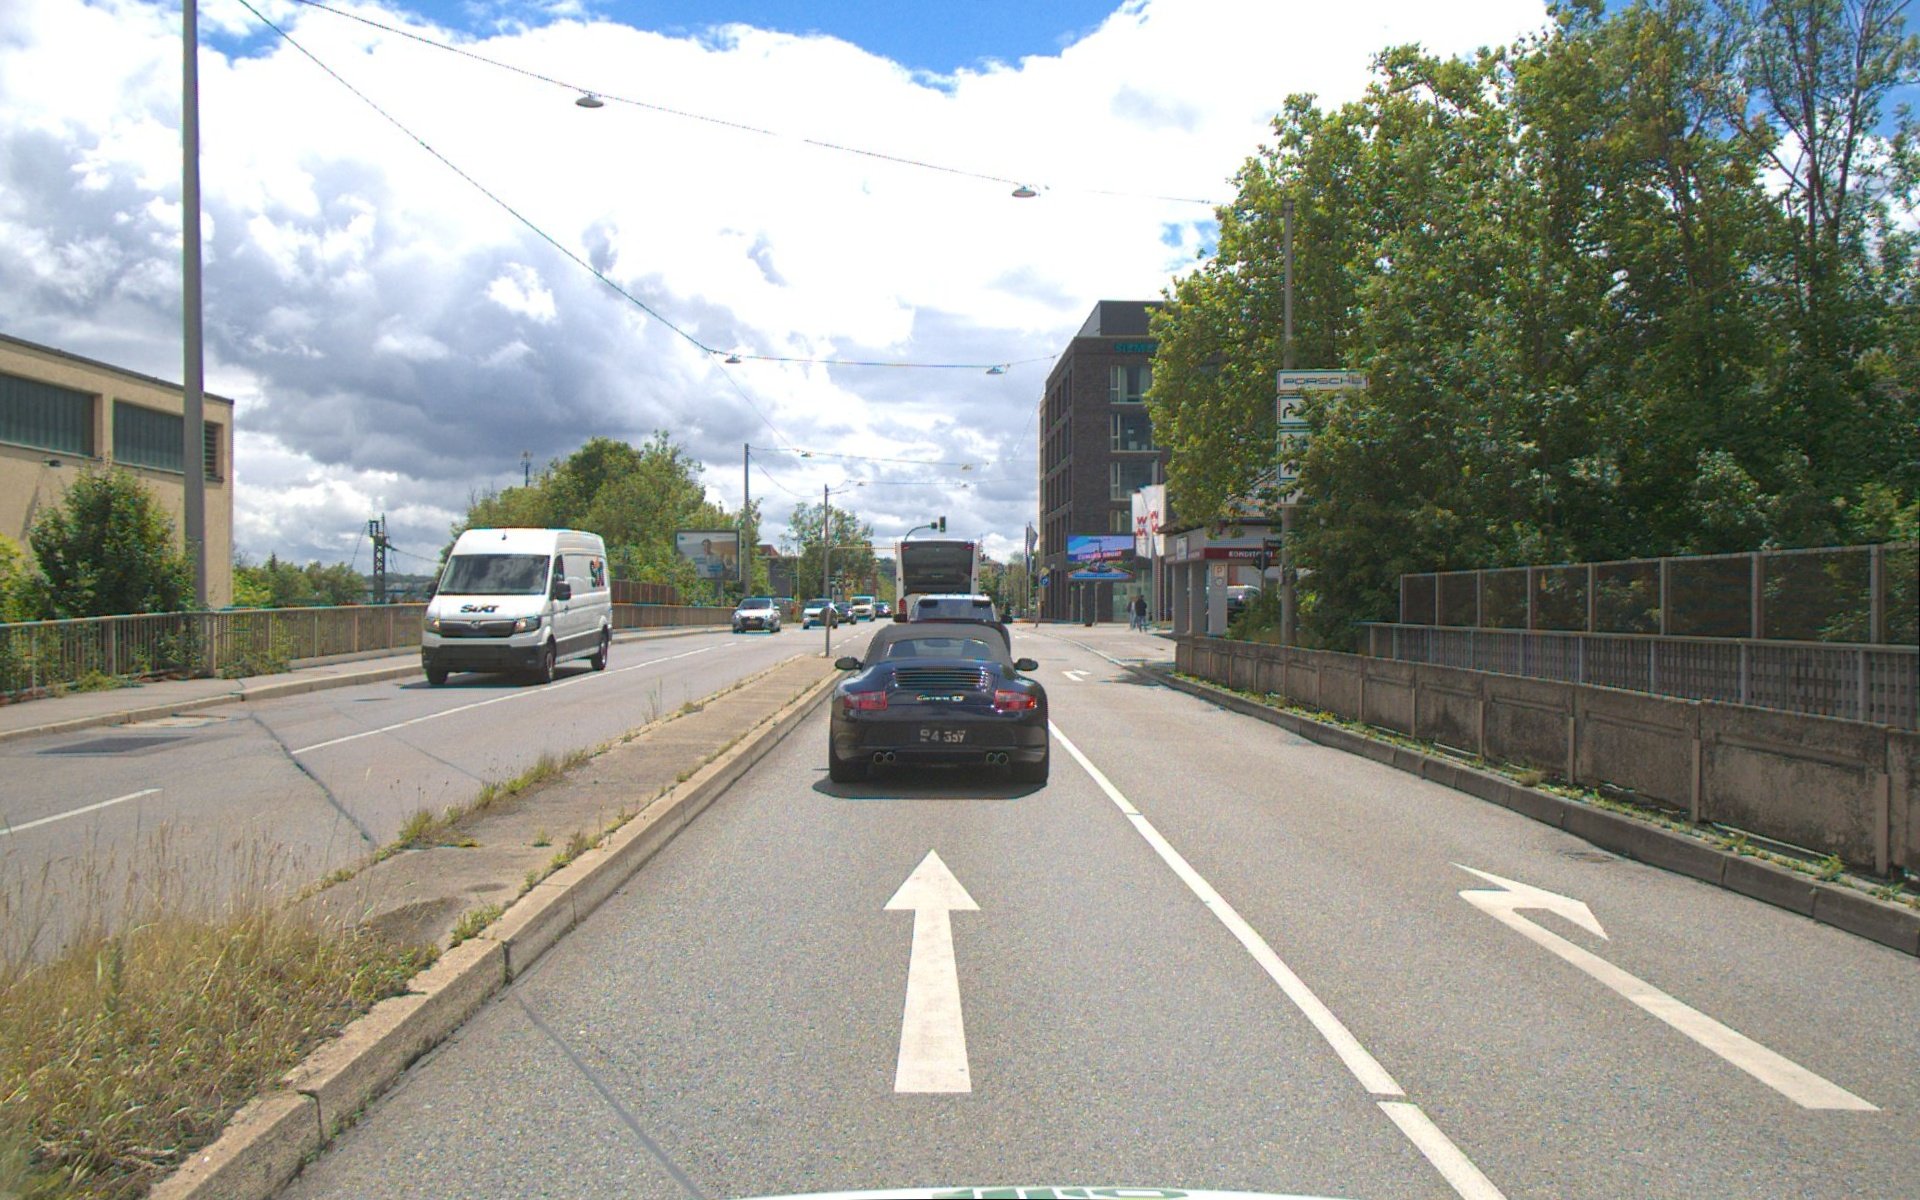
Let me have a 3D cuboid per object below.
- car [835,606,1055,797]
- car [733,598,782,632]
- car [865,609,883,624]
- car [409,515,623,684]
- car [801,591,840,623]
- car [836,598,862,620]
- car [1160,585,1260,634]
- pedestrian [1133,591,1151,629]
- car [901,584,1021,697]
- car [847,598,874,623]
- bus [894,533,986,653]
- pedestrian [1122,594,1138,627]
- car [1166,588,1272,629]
[{"bbox_3d":[-0.202,0.801,14.868,1.685,1.297,4.087,1,2,-3],"label":"car"},{"bbox_3d":[-8.445,0.609,69.147,1.603,1.387,4.194,0,0,-1],"label":"car"},{"bbox_3d":[-8.532,1.647,163.971,1.629,1.440,3.802,0,0,0],"label":"car"},{"bbox_3d":[-7.659,-0.033,29.363,2.025,2.616,6.820,-1,0,-1],"label":"car"},{"bbox_3d":[-7.272,0.361,86.614,1.773,1.587,4.206,1,0,-2],"label":"car"},{"bbox_3d":[-7.546,0.631,112.790,1.595,1.455,3.999,0,0,-1],"label":"car"},{"bbox_3d":[11.149,0.423,73.973,4.144,1.970,2.029,-2,-1,0],"label":"car"},{"bbox_3d":[8.305,0.439,75.558,0.666,1.726,0.598,0,0,24],"label":"pedestrian"},{"bbox_3d":[-0.030,0.619,28.160,1.842,1.621,4.229,2,2,-1],"label":"car"},{"bbox_3d":[-7.927,0.817,132.037,1.863,1.920,5.312,-2,0,-1],"label":"car"},{"bbox_3d":[-0.583,-0.436,55.117,2.634,3.311,12.061,2,3,0],"label":"bus"},{"bbox_3d":[9.228,0.569,89.849,0.693,1.726,0.924,0,0,-4],"label":"pedestrian"},{"bbox_3d":[11.058,0.366,70.834,4.212,1.539,1.846,-2,-1,-1],"label":"car"}]
